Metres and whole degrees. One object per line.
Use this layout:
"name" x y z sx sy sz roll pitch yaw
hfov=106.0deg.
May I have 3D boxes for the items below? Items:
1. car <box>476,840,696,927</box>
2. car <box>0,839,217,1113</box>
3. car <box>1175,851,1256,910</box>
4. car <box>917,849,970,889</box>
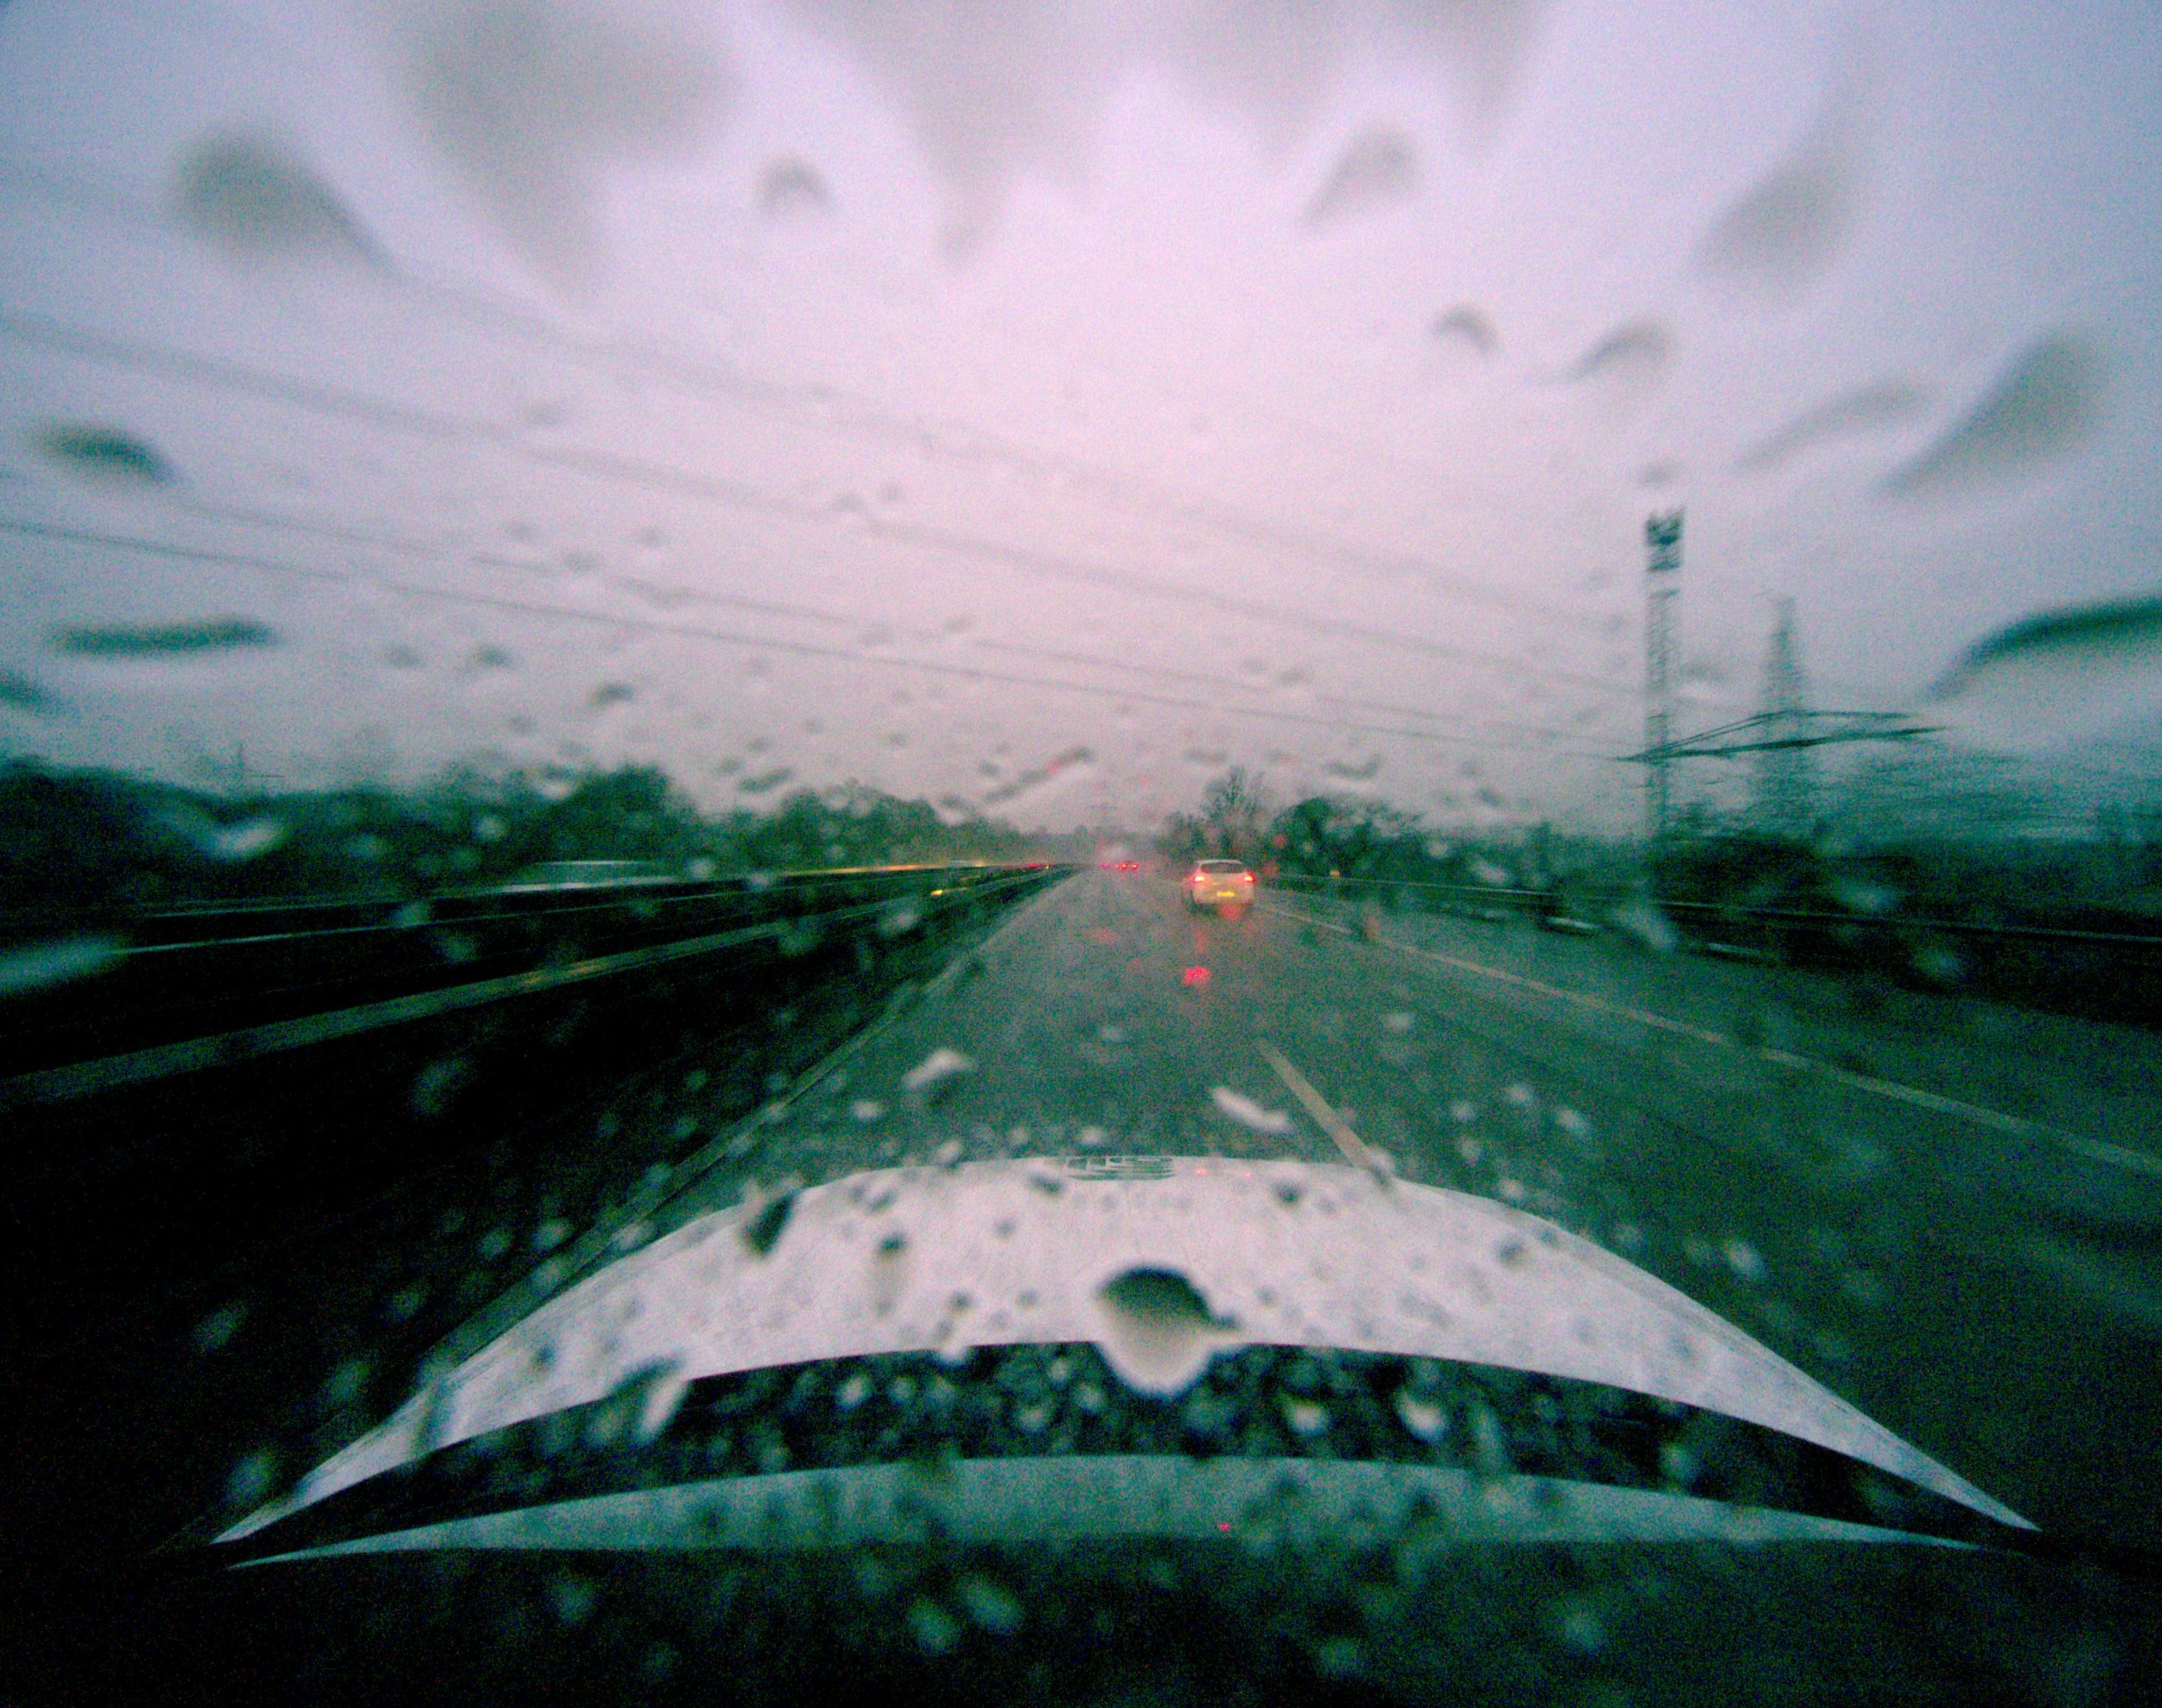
"car" -11.414 0.614 19.313 2.156 1.791 4.810 -1 0 1
"car" -6.985 0.680 3.603 1.986 1.510 4.001 -1 0 1
"car" 3.981 0.747 24.723 1.839 1.636 3.767 -1 0 0
"car" -7.159 0.755 42.654 1.986 2.013 4.001 -1 0 1
